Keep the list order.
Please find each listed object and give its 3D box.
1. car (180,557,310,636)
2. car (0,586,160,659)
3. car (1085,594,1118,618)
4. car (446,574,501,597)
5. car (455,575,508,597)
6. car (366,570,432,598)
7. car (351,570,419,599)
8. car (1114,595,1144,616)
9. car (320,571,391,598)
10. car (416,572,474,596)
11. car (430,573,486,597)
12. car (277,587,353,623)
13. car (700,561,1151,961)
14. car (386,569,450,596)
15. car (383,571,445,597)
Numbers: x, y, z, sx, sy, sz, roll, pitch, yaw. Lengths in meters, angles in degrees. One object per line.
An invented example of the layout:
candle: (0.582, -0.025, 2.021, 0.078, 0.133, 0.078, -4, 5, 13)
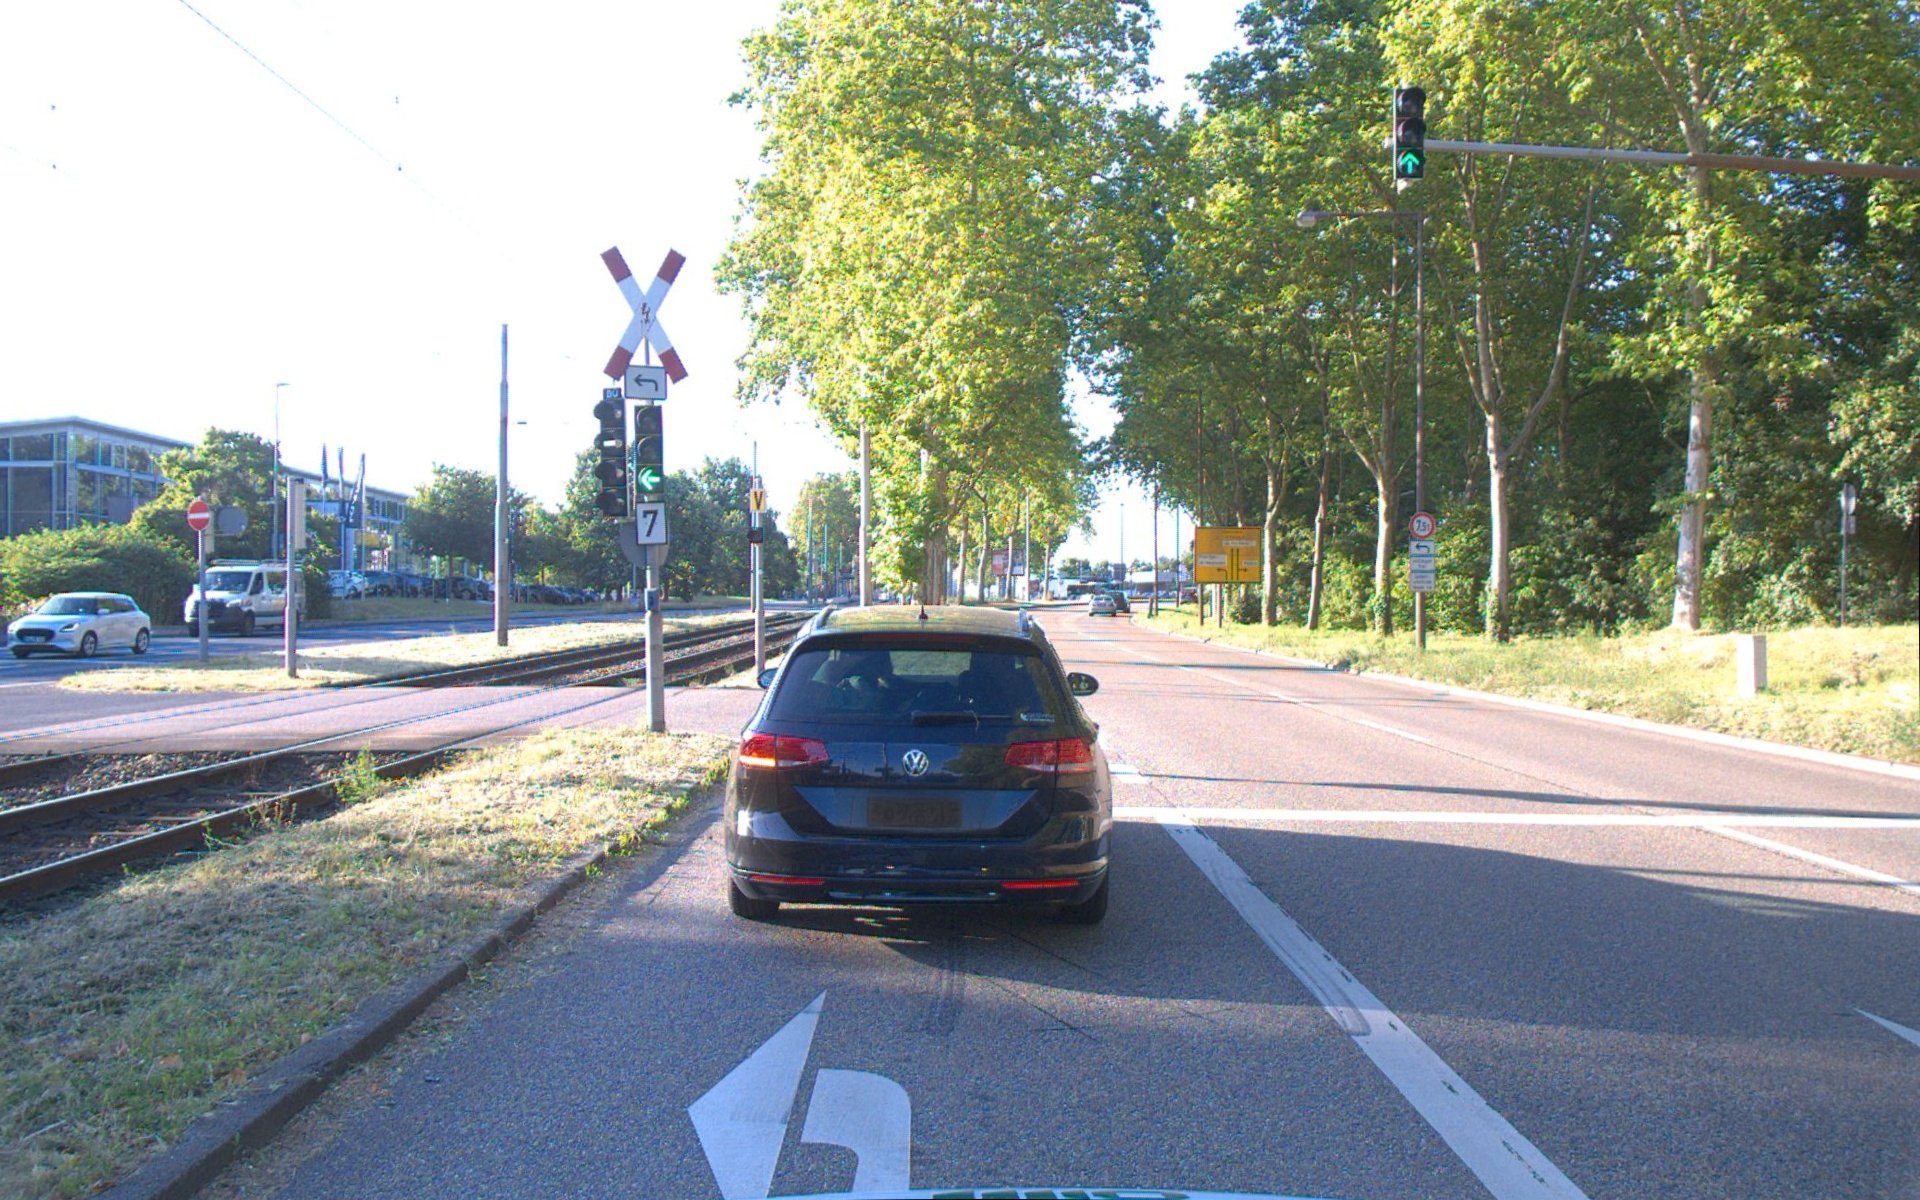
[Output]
car: (-25.102, -0.108, 58.330, 1.962, 2.611, 5.876, 1, 0, 0)
car: (-21.148, 0.510, 39.843, 1.832, 1.646, 3.999, 1, 0, -1)
car: (9.194, 0.378, 107.732, 1.952, 1.467, 4.001, 1, 0, 2)
car: (-35.537, -1.046, 120.862, 3.731, 1.594, 1.749, 1, 0, -20)
car: (-35.782, -1.039, 123.649, 3.731, 1.594, 1.749, 1, 0, -20)
car: (-33.851, -0.954, 99.888, 3.731, 1.594, 1.749, 1, 0, -20)
car: (-33.805, -0.896, 97.258, 3.731, 1.594, 1.749, 1, 0, -20)
car: (12.092, 0.414, 118.446, 1.951, 1.465, 4.003, 1, 0, 8)
car: (-34.020, -0.844, 93.153, 3.731, 1.412, 1.749, 1, 0, -20)
car: (-35.713, -1.075, 114.686, 3.731, 1.594, 1.749, 1, 0, -20)
car: (-35.715, -1.063, 117.572, 3.731, 1.594, 1.749, 1, 0, -20)
car: (-34.886, 0.288, 89.489, 3.731, 1.892, 1.749, 1, 0, -20)
car: (-0.166, 0.658, 8.777, 1.787, 1.583, 4.258, 1, 0, -1)
car: (-33.792, -1.091, 103.142, 3.731, 1.594, 1.749, 1, 0, -20)
car: (-34.965, -0.999, 105.875, 3.731, 1.594, 1.749, 1, 0, -20)
